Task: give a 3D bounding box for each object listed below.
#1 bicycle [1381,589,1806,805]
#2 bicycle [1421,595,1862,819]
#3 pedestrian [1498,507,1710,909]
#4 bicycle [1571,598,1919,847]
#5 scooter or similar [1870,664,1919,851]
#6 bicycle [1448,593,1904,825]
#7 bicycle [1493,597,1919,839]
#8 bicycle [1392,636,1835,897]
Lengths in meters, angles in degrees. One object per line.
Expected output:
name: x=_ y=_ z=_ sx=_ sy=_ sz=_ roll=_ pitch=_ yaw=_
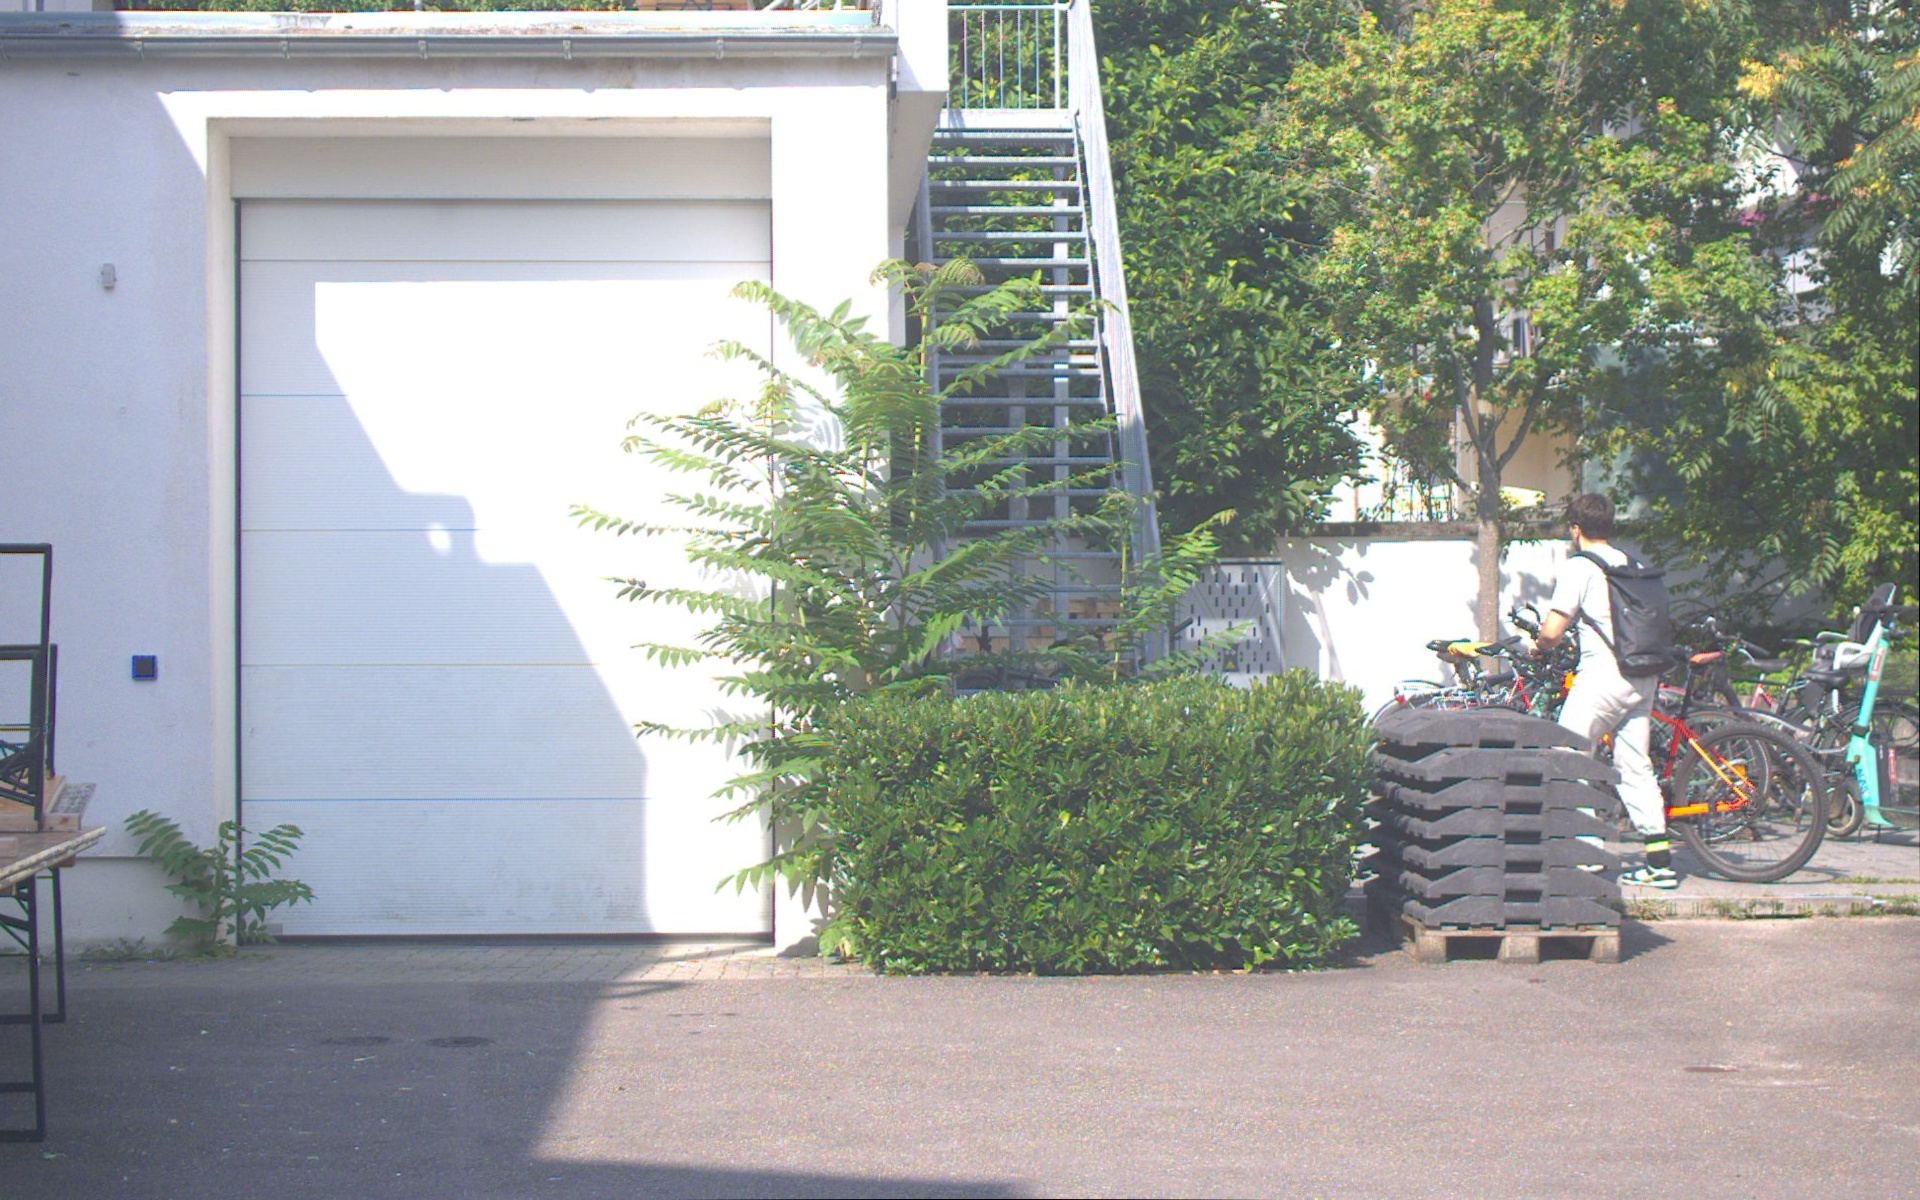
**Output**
bicycle: x=3.752 y=0.571 z=20.430 sx=2.411 sy=1.242 sz=0.526 roll=1 pitch=0 yaw=-3
bicycle: x=3.896 y=0.605 z=19.721 sx=2.411 sy=1.242 sz=0.526 roll=1 pitch=0 yaw=-3
pedestrian: x=2.932 y=0.471 z=15.623 sx=0.610 sy=1.765 sz=0.859 roll=1 pitch=1 yaw=37
bicycle: x=4.402 y=0.625 z=17.661 sx=2.411 sy=1.242 sz=0.526 roll=1 pitch=0 yaw=-3
scooter or similar: x=5.080 y=0.798 z=17.162 sx=0.359 sy=0.921 sz=0.999 roll=0 pitch=1 yaw=-40
bicycle: x=3.967 y=0.599 z=19.107 sx=2.411 sy=1.242 sz=0.526 roll=1 pitch=0 yaw=-3
bicycle: x=4.093 y=0.623 z=18.314 sx=2.411 sy=1.242 sz=0.526 roll=1 pitch=0 yaw=-3
bicycle: x=3.034 y=0.751 z=16.079 sx=1.991 sy=1.140 sz=0.489 roll=0 pitch=1 yaw=34
